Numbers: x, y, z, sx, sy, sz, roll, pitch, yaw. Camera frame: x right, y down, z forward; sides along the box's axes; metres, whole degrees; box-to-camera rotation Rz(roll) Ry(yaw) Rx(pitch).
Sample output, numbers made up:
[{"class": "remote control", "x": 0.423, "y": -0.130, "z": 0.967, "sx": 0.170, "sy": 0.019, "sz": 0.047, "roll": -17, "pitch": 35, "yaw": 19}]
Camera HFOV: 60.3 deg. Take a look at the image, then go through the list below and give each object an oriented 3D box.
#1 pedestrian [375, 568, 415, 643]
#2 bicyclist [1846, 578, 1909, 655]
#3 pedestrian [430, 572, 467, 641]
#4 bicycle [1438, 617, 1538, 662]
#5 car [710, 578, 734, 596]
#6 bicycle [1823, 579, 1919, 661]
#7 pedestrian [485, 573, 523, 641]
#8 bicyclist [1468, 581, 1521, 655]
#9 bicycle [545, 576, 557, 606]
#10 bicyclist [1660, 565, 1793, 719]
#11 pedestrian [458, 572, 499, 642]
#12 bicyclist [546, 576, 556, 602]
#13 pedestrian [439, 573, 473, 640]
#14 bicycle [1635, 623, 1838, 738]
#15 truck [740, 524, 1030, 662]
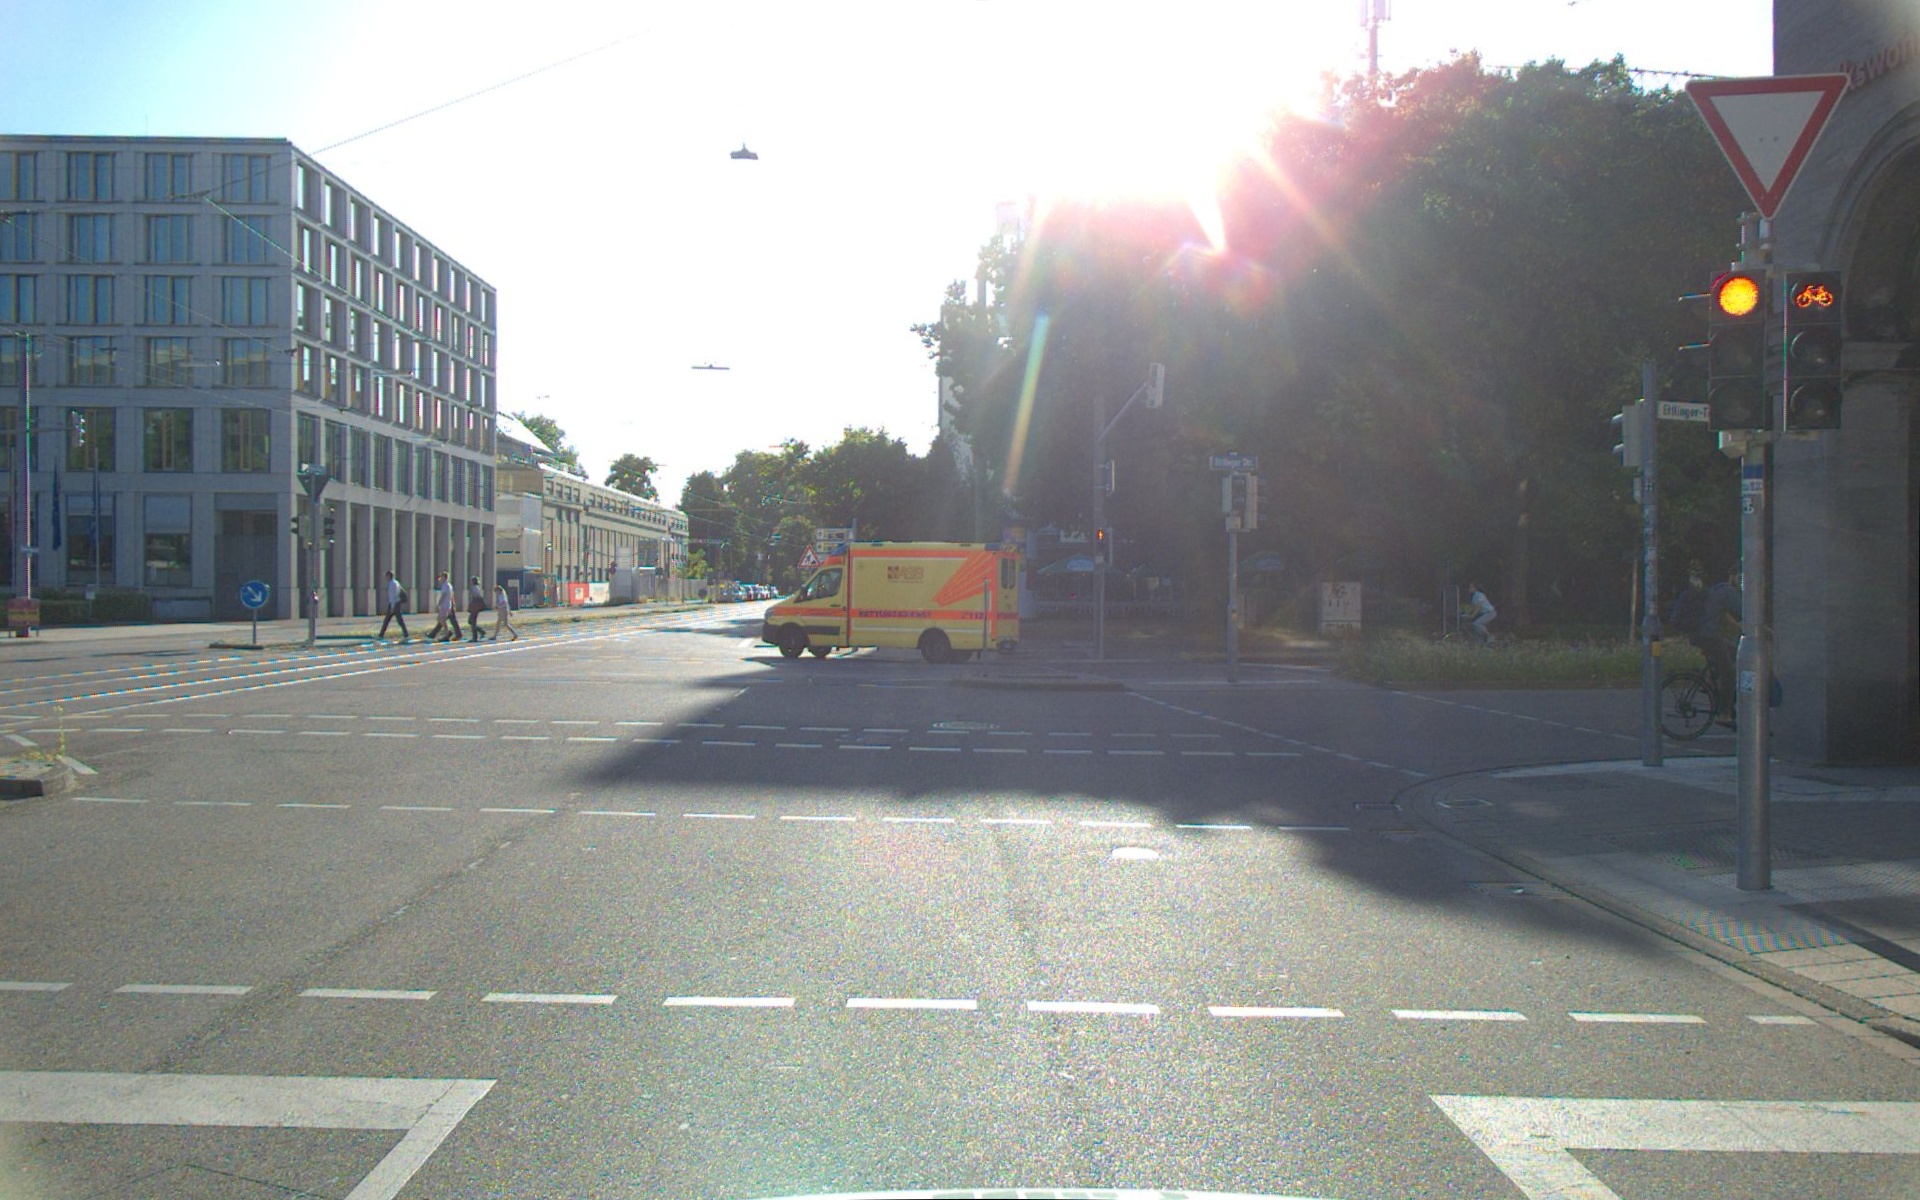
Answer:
[{"class": "pedestrian", "x": -14.868, "y": 0.146, "z": 43.518, "sx": 0.785, "sy": 1.951, "sz": 0.637, "roll": 0, "pitch": 0, "yaw": 4}, {"class": "bicyclist", "x": 20.004, "y": 0.360, "z": 36.064, "sx": 1.052, "sy": 1.669, "sz": 0.597, "roll": 0, "pitch": 0, "yaw": 3}, {"class": "pedestrian", "x": -13.722, "y": 0.184, "z": 44.378, "sx": 0.723, "sy": 1.835, "sz": 0.716, "roll": 0, "pitch": 0, "yaw": 4}, {"class": "bicycle", "x": 11.531, "y": 0.861, "z": 36.140, "sx": 2.023, "sy": 0.949, "sz": 0.574, "roll": 0, "pitch": 0, "yaw": -3}, {"class": "car", "x": -22.442, "y": -1.228, "z": 156.022, "sx": 1.856, "sy": 1.635, "sz": 4.498, "roll": 0, "pitch": 0, "yaw": -3}, {"class": "bicycle", "x": 19.925, "y": 0.437, "z": 36.073, "sx": 1.857, "sy": 1.765, "sz": 0.597, "roll": 0, "pitch": 0, "yaw": 3}, {"class": "pedestrian", "x": -12.423, "y": 0.187, "z": 45.038, "sx": 0.851, "sy": 1.835, "sz": 0.532, "roll": 0, "pitch": 0, "yaw": 4}, {"class": "bicyclist", "x": 11.681, "y": 0.388, "z": 36.162, "sx": 0.955, "sy": 1.587, "sz": 0.574, "roll": 0, "pitch": 0, "yaw": -3}, {"class": "bicycle", "x": -31.980, "y": -0.734, "z": 129.351, "sx": 0.559, "sy": 2.336, "sz": 1.422, "roll": 0, "pitch": 0, "yaw": -2}, {"class": "bicyclist", "x": 8.308, "y": 0.438, "z": 17.964, "sx": 1.100, "sy": 1.622, "sz": 0.767, "roll": 0, "pitch": 2, "yaw": 6}, {"class": "pedestrian", "x": -12.757, "y": 0.189, "z": 43.852, "sx": 0.852, "sy": 1.835, "sz": 0.664, "roll": 0, "pitch": 0, "yaw": 4}, {"class": "bicyclist", "x": -31.987, "y": -0.842, "z": 129.385, "sx": 0.559, "sy": 2.059, "sz": 0.761, "roll": 0, "pitch": 0, "yaw": -2}, {"class": "pedestrian", "x": -13.804, "y": 0.174, "z": 45.322, "sx": 0.723, "sy": 1.835, "sz": 0.532, "roll": 0, "pitch": 0, "yaw": 4}, {"class": "bicycle", "x": 8.406, "y": 0.859, "z": 17.965, "sx": 1.833, "sy": 1.178, "sz": 0.767, "roll": 0, "pitch": 2, "yaw": 6}, {"class": "truck", "x": -1.753, "y": -0.166, "z": 39.269, "sx": 6.332, "sy": 3.068, "sz": 2.727, "roll": 0, "pitch": 0, "yaw": 17}]
